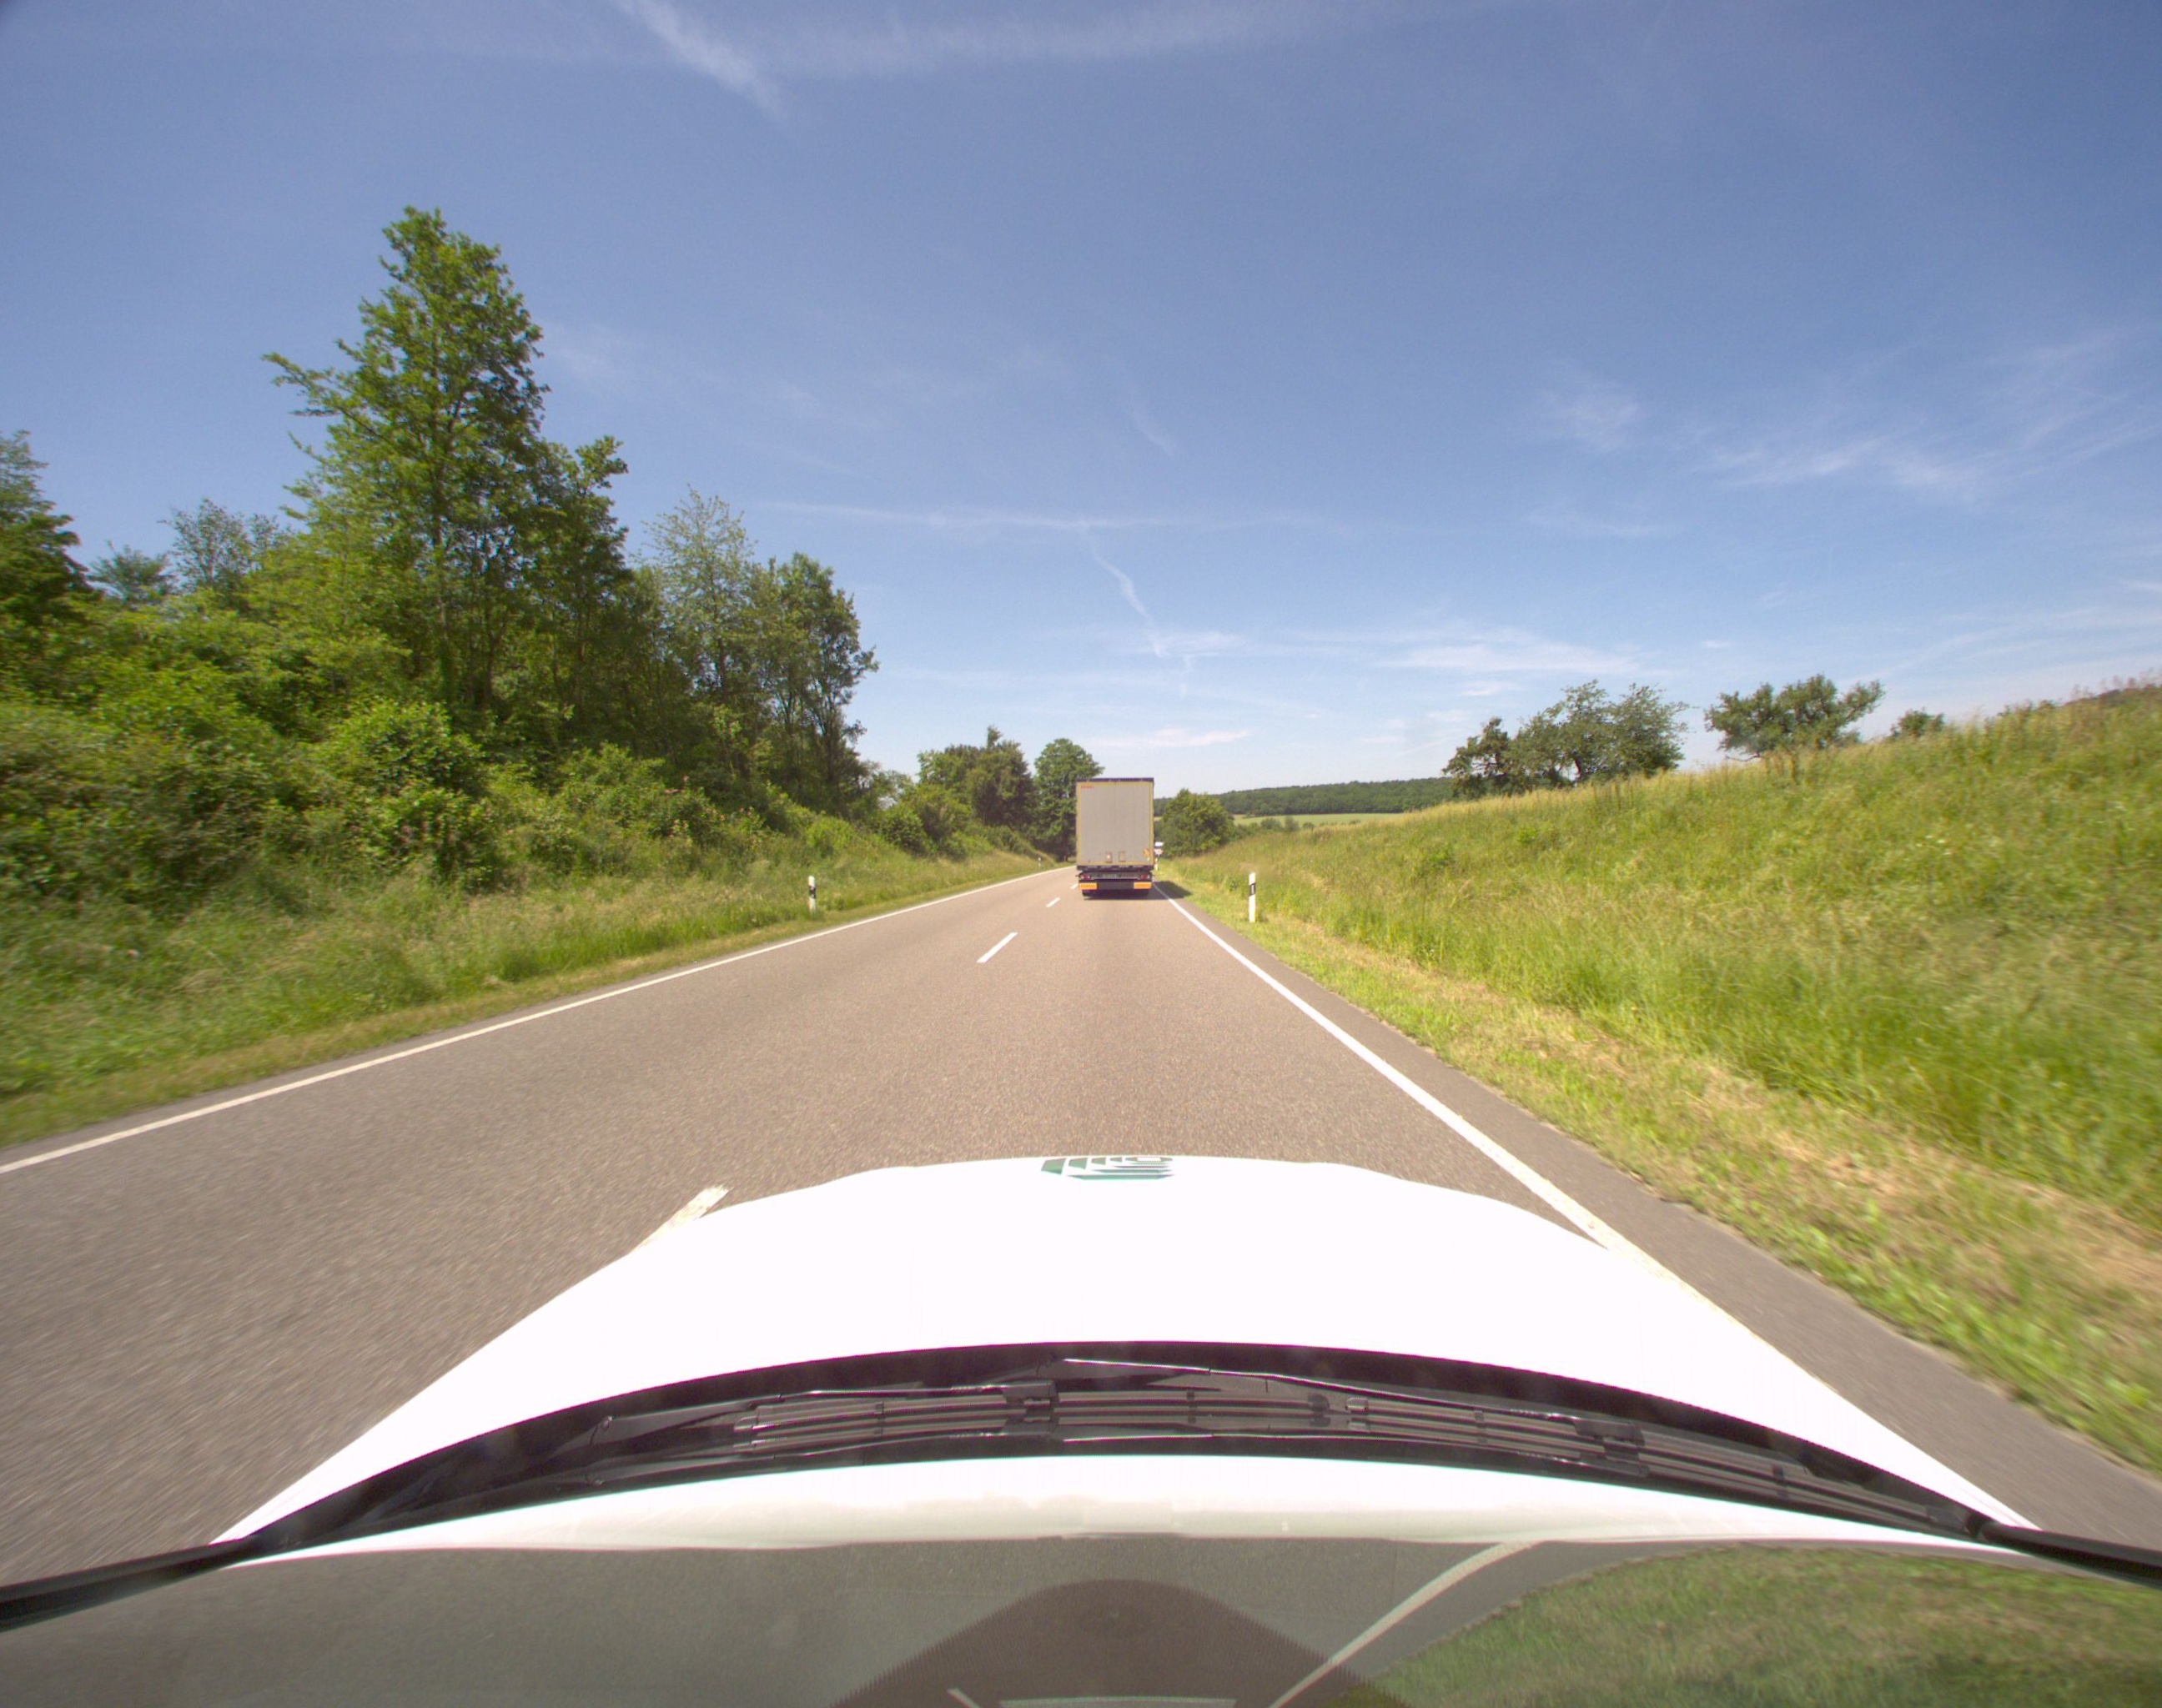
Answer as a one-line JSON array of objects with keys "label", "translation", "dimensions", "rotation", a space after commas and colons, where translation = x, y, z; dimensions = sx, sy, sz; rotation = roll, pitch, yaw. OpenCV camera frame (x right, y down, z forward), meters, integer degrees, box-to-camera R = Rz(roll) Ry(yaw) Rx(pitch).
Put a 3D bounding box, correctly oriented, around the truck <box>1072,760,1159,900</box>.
[{"label": "truck", "translation": [1.217, -0.802, 32.304], "dimensions": [2.808, 4.532, 11.769], "rotation": [0, 0, 1]}]
